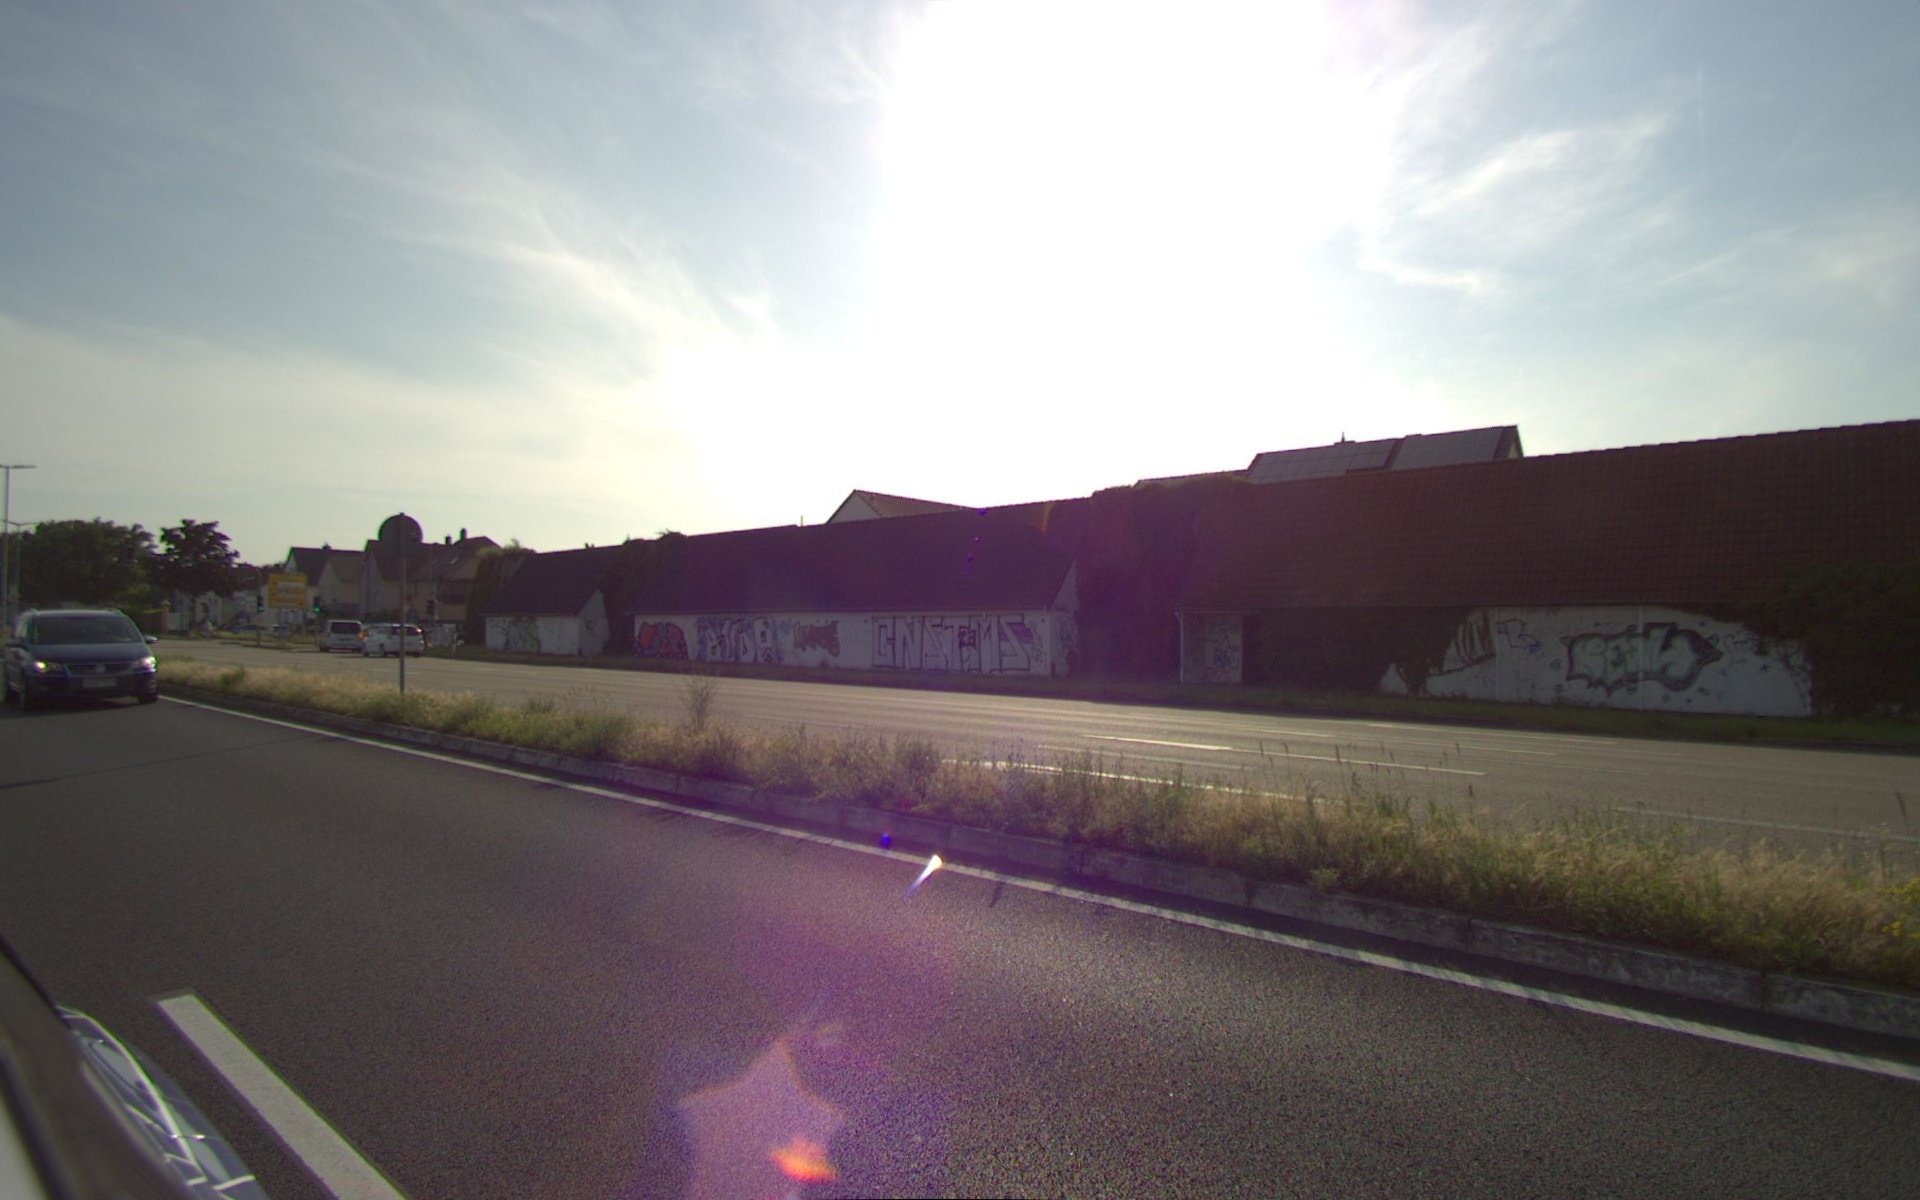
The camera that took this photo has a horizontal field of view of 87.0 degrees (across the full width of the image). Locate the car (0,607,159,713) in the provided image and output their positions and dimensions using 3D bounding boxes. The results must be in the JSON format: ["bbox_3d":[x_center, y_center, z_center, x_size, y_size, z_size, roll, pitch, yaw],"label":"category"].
[{"bbox_3d":[-15.791,0.954,17.932,4.681,1.633,1.754,0,-1,42],"label":"car"}]

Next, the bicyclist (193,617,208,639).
[{"bbox_3d":[-63.603,2.340,84.725,0.844,1.800,0.848,5,-3,-40],"label":"bicyclist"}]

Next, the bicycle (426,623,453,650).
[{"bbox_3d":[-35.263,2.443,68.535,2.606,1.762,0.745,0,0,42],"label":"bicycle"}]

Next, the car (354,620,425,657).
[{"bbox_3d":[-28.944,1.944,51.301,4.759,1.720,1.816,0,-4,45],"label":"car"}]

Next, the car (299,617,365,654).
[{"bbox_3d":[-36.812,2.051,59.282,5.455,1.942,1.886,0,-4,44],"label":"car"}]

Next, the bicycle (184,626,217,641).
[{"bbox_3d":[-63.612,2.835,84.737,2.128,1.201,0.905,3,-2,-40],"label":"bicycle"}]

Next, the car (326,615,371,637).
[{"bbox_3d":[-42.867,1.839,71.046,1.679,1.509,4.551,2,-2,-18],"label":"car"}]

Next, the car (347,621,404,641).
[{"bbox_3d":[-50.864,2.730,88.136,1.757,1.575,3.944,0,-3,42],"label":"car"}]
